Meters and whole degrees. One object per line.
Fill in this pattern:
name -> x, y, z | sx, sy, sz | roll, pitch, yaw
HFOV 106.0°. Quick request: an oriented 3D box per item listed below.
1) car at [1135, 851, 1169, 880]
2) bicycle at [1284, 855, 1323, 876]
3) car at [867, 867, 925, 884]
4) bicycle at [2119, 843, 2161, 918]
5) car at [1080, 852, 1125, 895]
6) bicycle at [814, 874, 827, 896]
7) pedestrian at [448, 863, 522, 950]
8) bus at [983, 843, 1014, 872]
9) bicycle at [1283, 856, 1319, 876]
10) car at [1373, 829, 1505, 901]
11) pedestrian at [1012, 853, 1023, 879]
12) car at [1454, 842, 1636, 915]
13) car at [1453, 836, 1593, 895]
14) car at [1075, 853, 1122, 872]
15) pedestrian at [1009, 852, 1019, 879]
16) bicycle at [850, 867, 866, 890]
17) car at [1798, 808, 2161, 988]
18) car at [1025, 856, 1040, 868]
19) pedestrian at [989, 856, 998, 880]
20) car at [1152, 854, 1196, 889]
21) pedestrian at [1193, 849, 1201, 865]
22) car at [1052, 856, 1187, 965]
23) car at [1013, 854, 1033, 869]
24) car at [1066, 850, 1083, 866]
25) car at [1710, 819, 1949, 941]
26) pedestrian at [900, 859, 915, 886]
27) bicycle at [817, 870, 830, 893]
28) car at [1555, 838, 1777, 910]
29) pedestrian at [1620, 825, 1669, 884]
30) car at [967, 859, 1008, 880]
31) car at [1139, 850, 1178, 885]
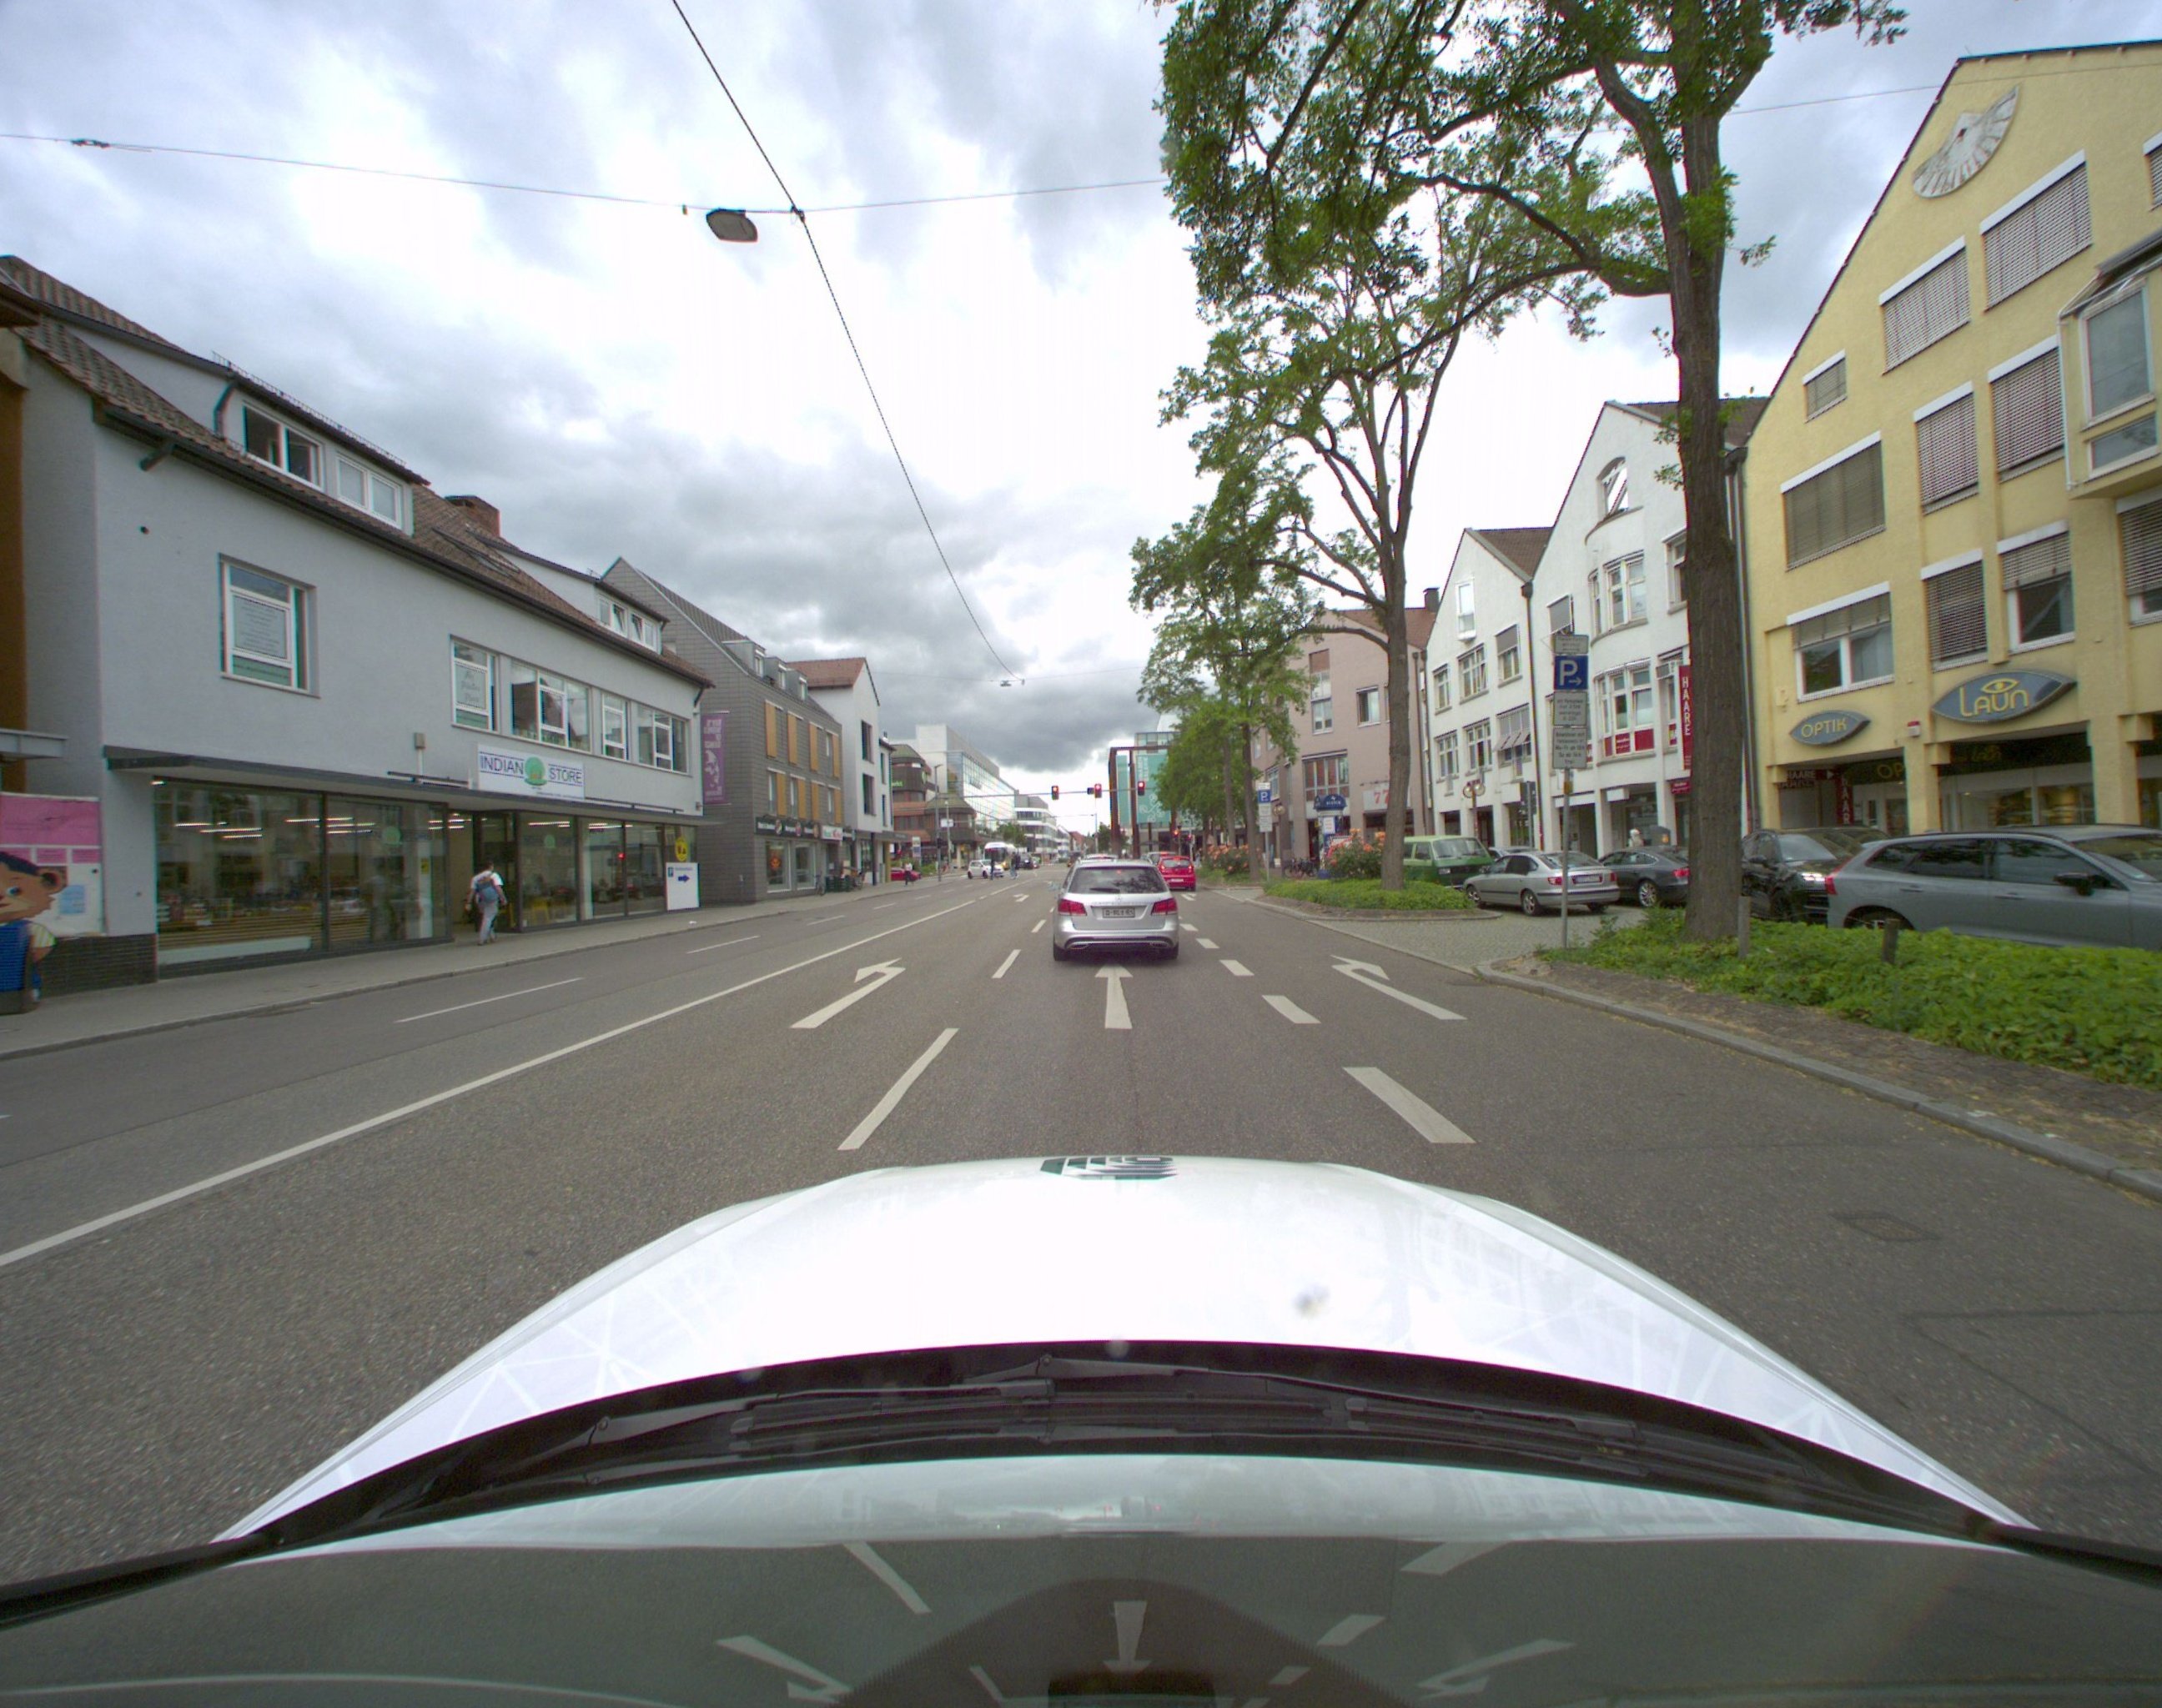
car -> 4.074, 0.647, 47.166 | 1.581, 1.595, 3.867 | 0, 0, 0
bicycle -> 11.656, 0.604, 42.670 | 1.892, 0.997, 0.468 | -2, 0, 5
car -> -16.765, 1.947, 73.919 | 4.696, 1.369, 1.965 | -2, 0, 2
bicycle -> 15.436, 0.378, 11.258 | 0.390, 1.044, 1.379 | -3, 0, 1
car -> 0.824, 0.709, 31.254 | 1.634, 1.527, 3.394 | -1, 0, 1
bicycle -> -12.162, 1.452, 38.015 | 0.326, 0.954, 1.478 | -2, 0, -9
pedestrian -> -12.290, 1.059, 16.829 | 0.751, 1.705, 0.981 | 1, 0, 1
bus -> -9.881, 0.377, 98.465 | 2.678, 3.261, 8.653 | -2, 0, 0
bicycle -> 11.682, 0.624, 43.216 | 1.760, 0.997, 0.447 | -2, 0, 5
car -> 10.631, 0.300, 24.608 | 1.874, 1.876, 4.604 | -3, 0, 0
pedestrian -> -4.414, 0.817, 56.908 | 0.645, 1.775, 0.568 | -2, 0, -10
car -> 10.773, 0.517, 19.335 | 1.757, 1.450, 4.418 | -2, 0, 0
car -> 13.287, 0.313, 24.803 | 1.790, 1.542, 4.393 | -3, 0, 0
car -> 1.574, 0.785, 73.585 | 4.171, 1.530, 1.790 | -2, 0, 1
pedestrian -> -4.640, 0.791, 56.179 | 0.646, 1.790, 0.683 | -2, 0, -6
bicycle -> -12.316, 1.333, 44.979 | 0.385, 1.186, 1.825 | -2, 0, -1
car -> 10.505, 0.354, 8.360 | 1.988, 1.595, 4.760 | -2, 0, -2
car -> -6.122, 1.018, 103.173 | 1.550, 1.392, 3.287 | -2, 0, 0
pedestrian -> -6.088, 0.959, 56.719 | 0.557, 1.650, 0.651 | -2, 0, -10
car -> 3.934, 0.721, 34.862 | 1.581, 1.443, 3.349 | 0, 0, 2
pedestrian -> 11.884, 0.325, 83.414 | 0.652, 1.650, 0.557 | -2, 0, -13
car -> 0.504, 0.769, 13.093 | 1.809, 1.448, 4.368 | 0, 0, 0
car -> -6.788, 0.876, 95.556 | 1.987, 1.706, 4.064 | -2, 0, 0
car -> -0.835, 0.541, 104.880 | 1.986, 1.949, 4.952 | -2, 0, 1
car -> 12.098, 0.337, 13.559 | 1.835, 1.670, 4.693 | -3, 0, 29
pedestrian -> -10.793, 1.144, 50.736 | 0.725, 1.610, 0.753 | -2, 0, 1
bicycle -> -13.351, 1.408, 42.249 | 0.386, 1.127, 1.286 | -2, 0, -8
car -> 13.524, 0.419, 19.243 | 1.991, 1.376, 4.418 | -3, 0, 0
pedestrian -> 16.709, 0.006, 24.176 | 0.786, 1.659, 0.819 | -4, 0, 1
car -> -7.333, 1.202, 63.432 | 1.587, 1.488, 3.424 | -3, 0, -38
car -> 3.842, 0.646, 41.000 | 1.581, 1.634, 3.916 | 0, 0, 0
